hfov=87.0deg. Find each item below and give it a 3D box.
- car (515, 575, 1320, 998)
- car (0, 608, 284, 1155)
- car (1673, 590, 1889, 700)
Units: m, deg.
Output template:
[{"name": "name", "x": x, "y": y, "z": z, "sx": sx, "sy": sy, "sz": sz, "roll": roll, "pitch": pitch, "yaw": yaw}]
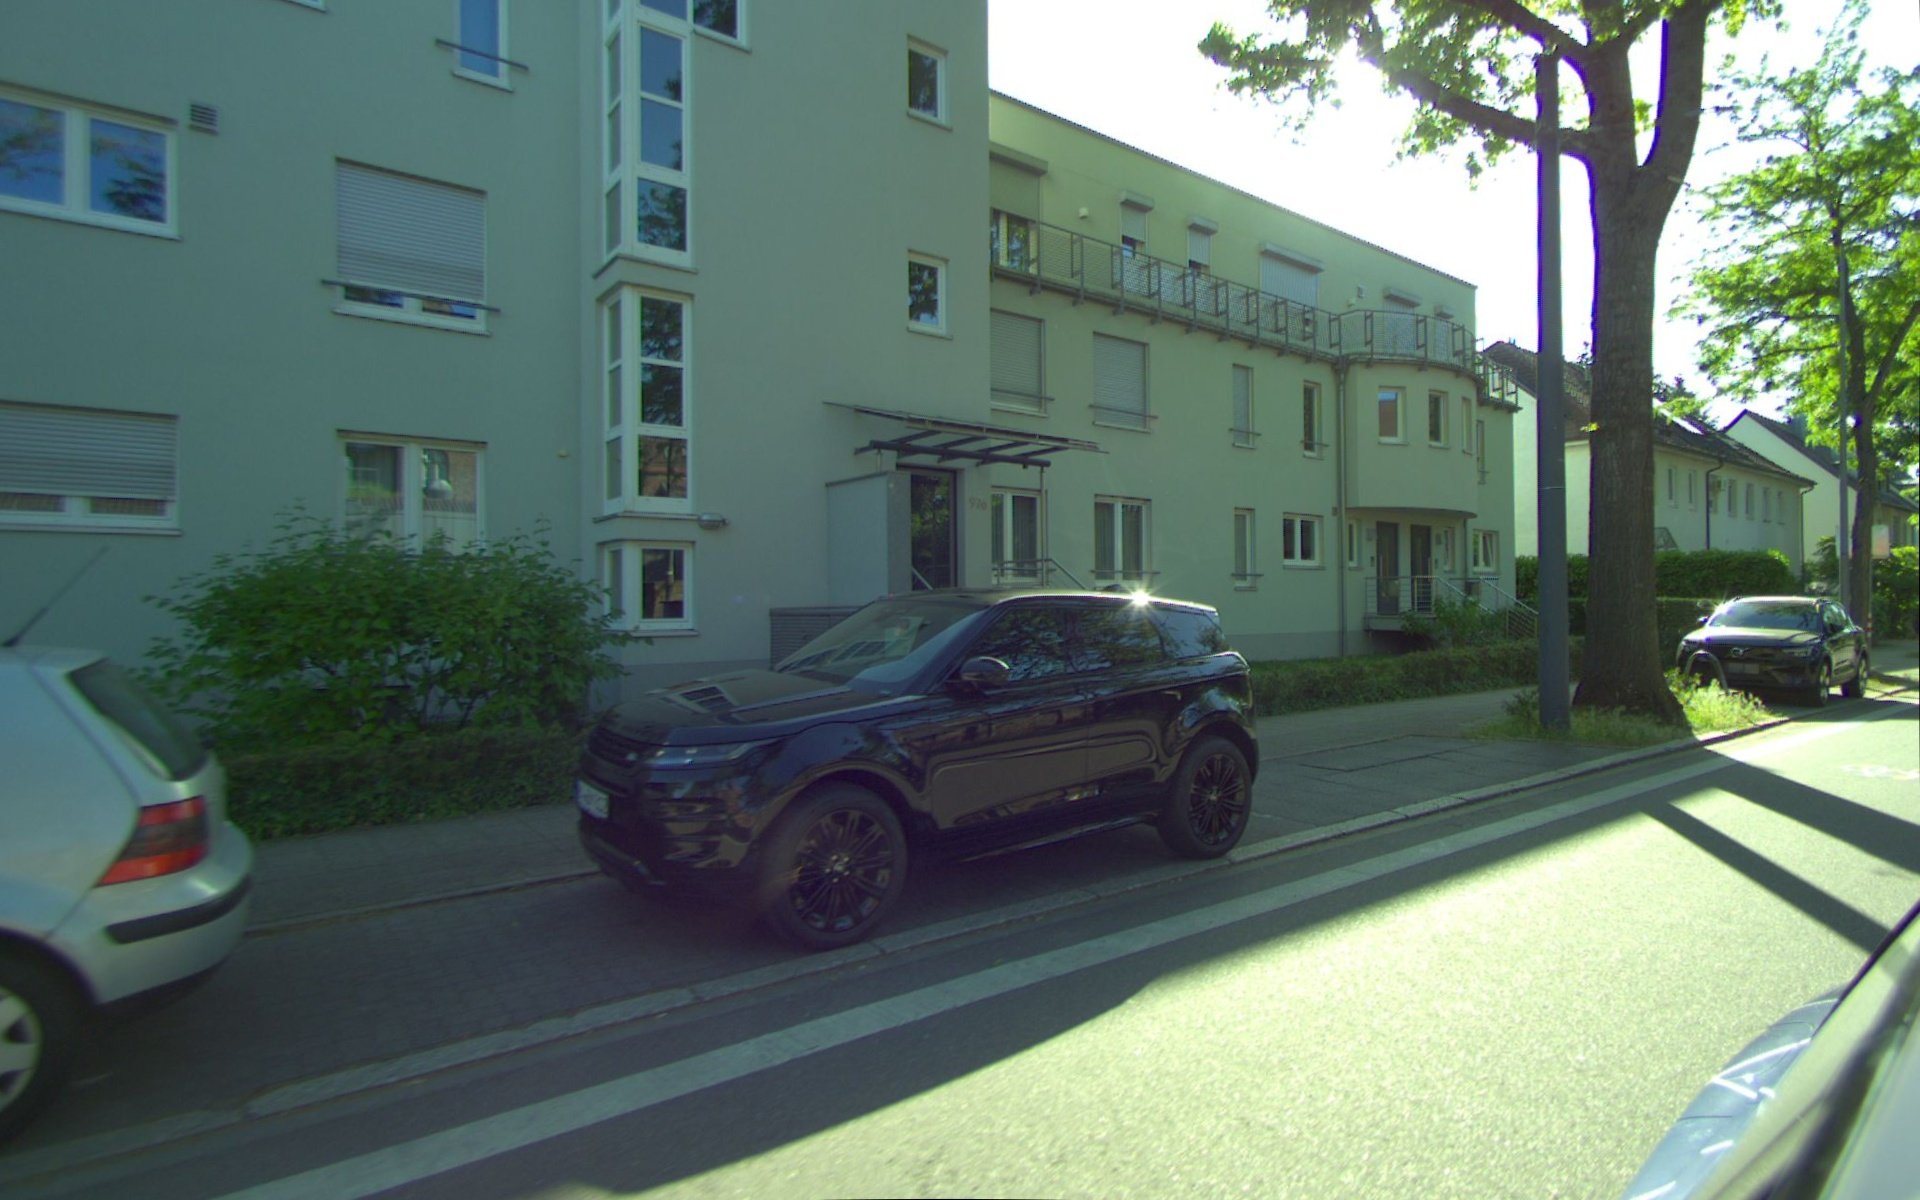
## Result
[{"name": "car", "x": -0.033, "y": 0.680, "z": 6.080, "sx": 4.516, "sy": 1.636, "sz": 1.999, "roll": -1, "pitch": 1, "yaw": -37}, {"name": "car", "x": -4.442, "y": 0.814, "z": 2.554, "sx": 4.447, "sy": 1.514, "sz": 1.742, "roll": -1, "pitch": 0, "yaw": -38}, {"name": "car", "x": 13.520, "y": 0.631, "z": 16.569, "sx": 4.566, "sy": 1.537, "sz": 1.879, "roll": -1, "pitch": 0, "yaw": -40}]
